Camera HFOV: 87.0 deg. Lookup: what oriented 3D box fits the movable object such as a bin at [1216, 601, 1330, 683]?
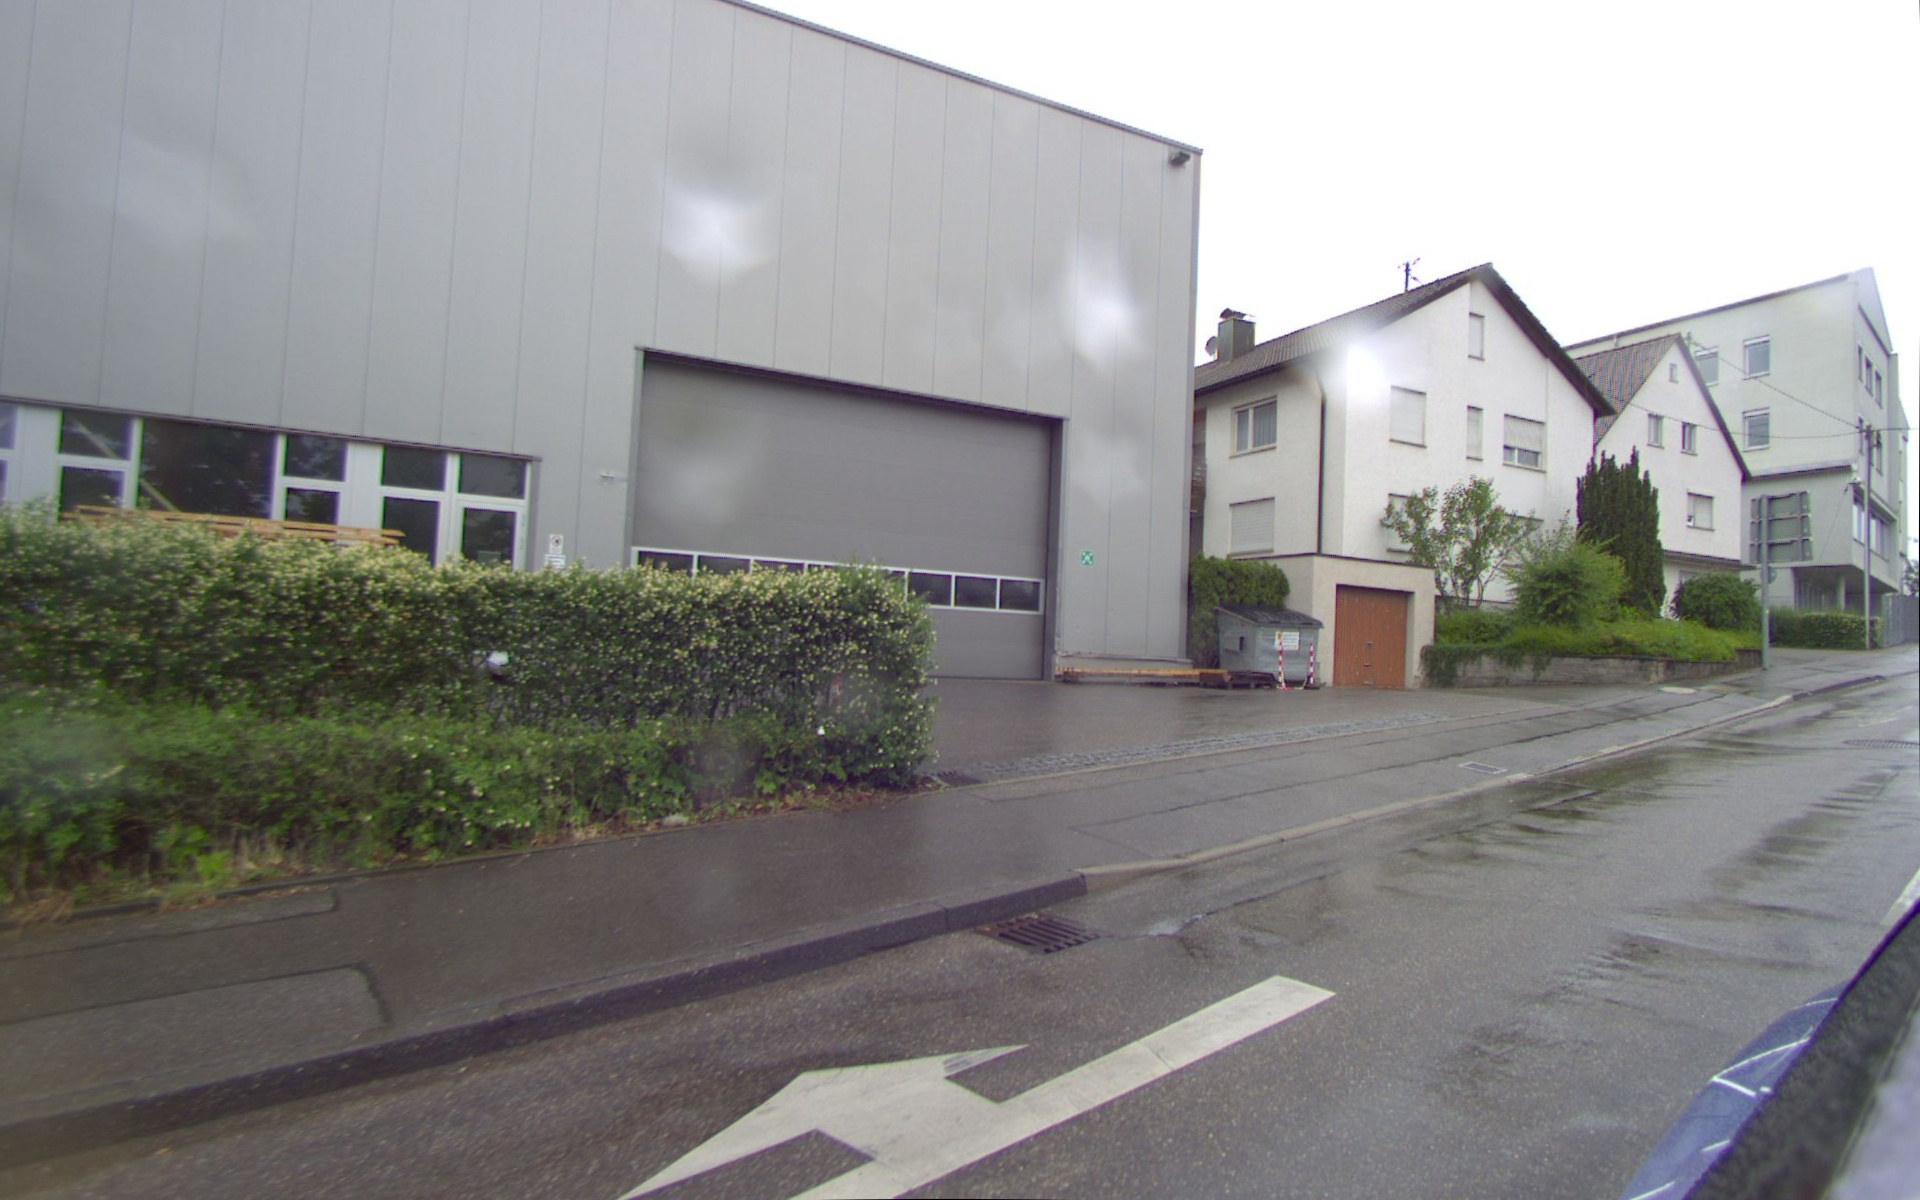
[{"bbox_3d":[6.230,0.819,20.179,1.742,1.537,1.268,1,0,-25],"label":"movable object such as a bin"}]
